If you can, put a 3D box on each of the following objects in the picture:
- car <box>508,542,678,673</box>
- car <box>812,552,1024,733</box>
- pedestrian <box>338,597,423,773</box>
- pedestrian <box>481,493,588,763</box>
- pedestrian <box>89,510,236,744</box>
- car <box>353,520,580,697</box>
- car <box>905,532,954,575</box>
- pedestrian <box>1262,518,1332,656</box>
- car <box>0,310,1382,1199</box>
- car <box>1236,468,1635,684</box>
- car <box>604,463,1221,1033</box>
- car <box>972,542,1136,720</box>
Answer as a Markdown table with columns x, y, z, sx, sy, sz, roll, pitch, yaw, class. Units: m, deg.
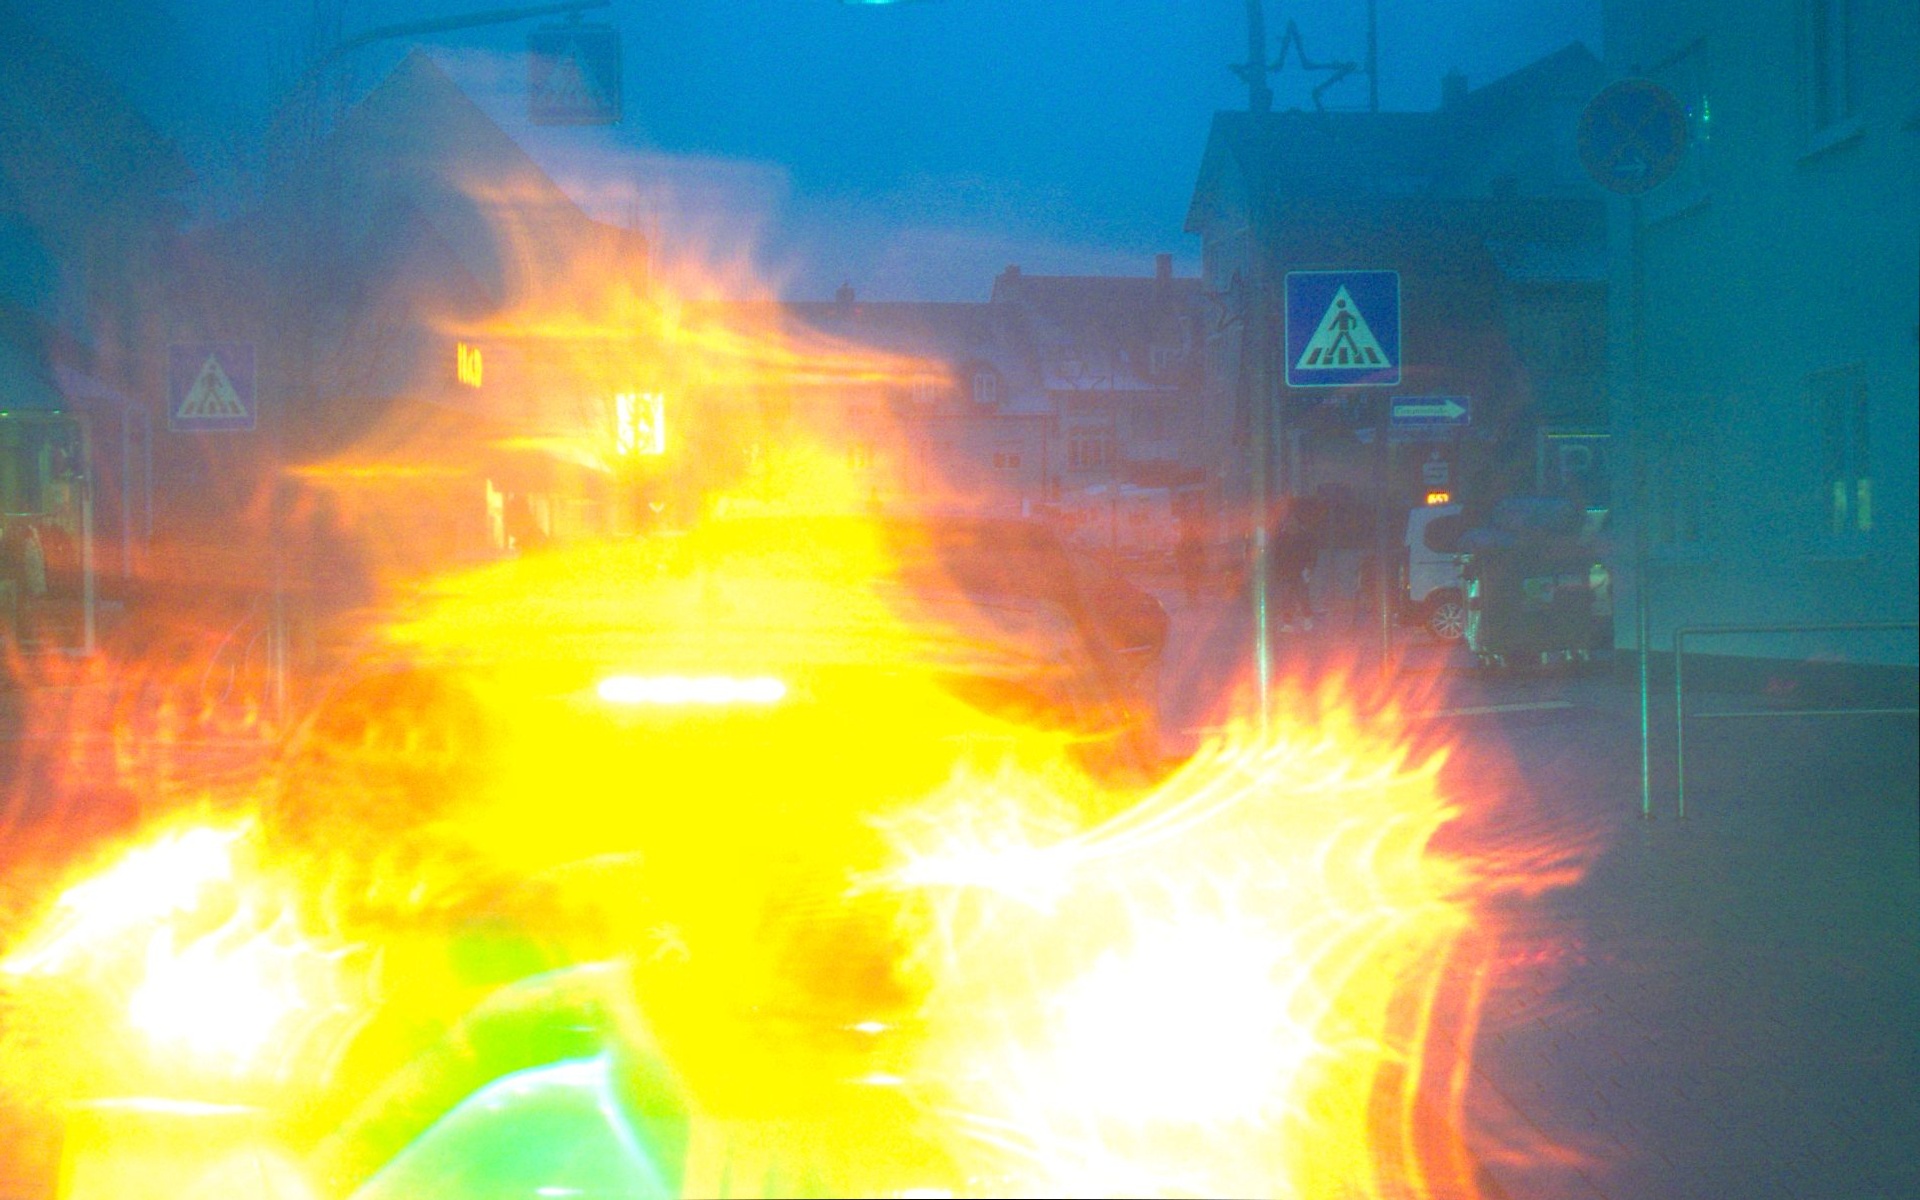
| x | y | z | sx | sy | sz | roll | pitch | yaw | class |
| --- | --- | --- | --- | --- | --- | --- | --- | --- | --- |
| -5.090 | 0.070 | 48.192 | 1.993 | 1.746 | 4.362 | 0 | 1 | -1 | car |
| -0.330 | 0.343 | 32.724 | 1.827 | 1.596 | 4.581 | 0 | 1 | 2 | car |
| -4.093 | 0.596 | 24.280 | 0.553 | 1.229 | 0.434 | 0 | 1 | -4 | pedestrian |
| -3.006 | 0.189 | 24.312 | 0.703 | 1.870 | 0.617 | 1 | 2 | -6 | pedestrian |
| -6.089 | 0.196 | 26.300 | 0.973 | 1.736 | 0.962 | 1 | 2 | -7 | pedestrian |
| -5.842 | 0.063 | 41.185 | 1.993 | 2.007 | 4.361 | 0 | 1 | 1 | car |
| -1.015 | -1.605 | 117.668 | 1.534 | 1.241 | 3.647 | -5 | 2 | 0 | car |
| 4.986 | -0.198 | 50.979 | 1.016 | 2.007 | 1.275 | 0 | 1 | 5 | pedestrian |
| -0.411 | 0.502 | 6.363 | 1.994 | 1.789 | 4.648 | 0 | 1 | 2 | car |
| 4.575 | -0.238 | 33.496 | 3.697 | 2.007 | 1.689 | 1 | 0 | 3 | car |
| -0.113 | 0.417 | 12.101 | 1.798 | 1.656 | 4.000 | 1 | 0 | 1 | car |
| 1.104 | 0.325 | 42.031 | 1.641 | 2.007 | 4.001 | -2 | 1 | -3 | car |
